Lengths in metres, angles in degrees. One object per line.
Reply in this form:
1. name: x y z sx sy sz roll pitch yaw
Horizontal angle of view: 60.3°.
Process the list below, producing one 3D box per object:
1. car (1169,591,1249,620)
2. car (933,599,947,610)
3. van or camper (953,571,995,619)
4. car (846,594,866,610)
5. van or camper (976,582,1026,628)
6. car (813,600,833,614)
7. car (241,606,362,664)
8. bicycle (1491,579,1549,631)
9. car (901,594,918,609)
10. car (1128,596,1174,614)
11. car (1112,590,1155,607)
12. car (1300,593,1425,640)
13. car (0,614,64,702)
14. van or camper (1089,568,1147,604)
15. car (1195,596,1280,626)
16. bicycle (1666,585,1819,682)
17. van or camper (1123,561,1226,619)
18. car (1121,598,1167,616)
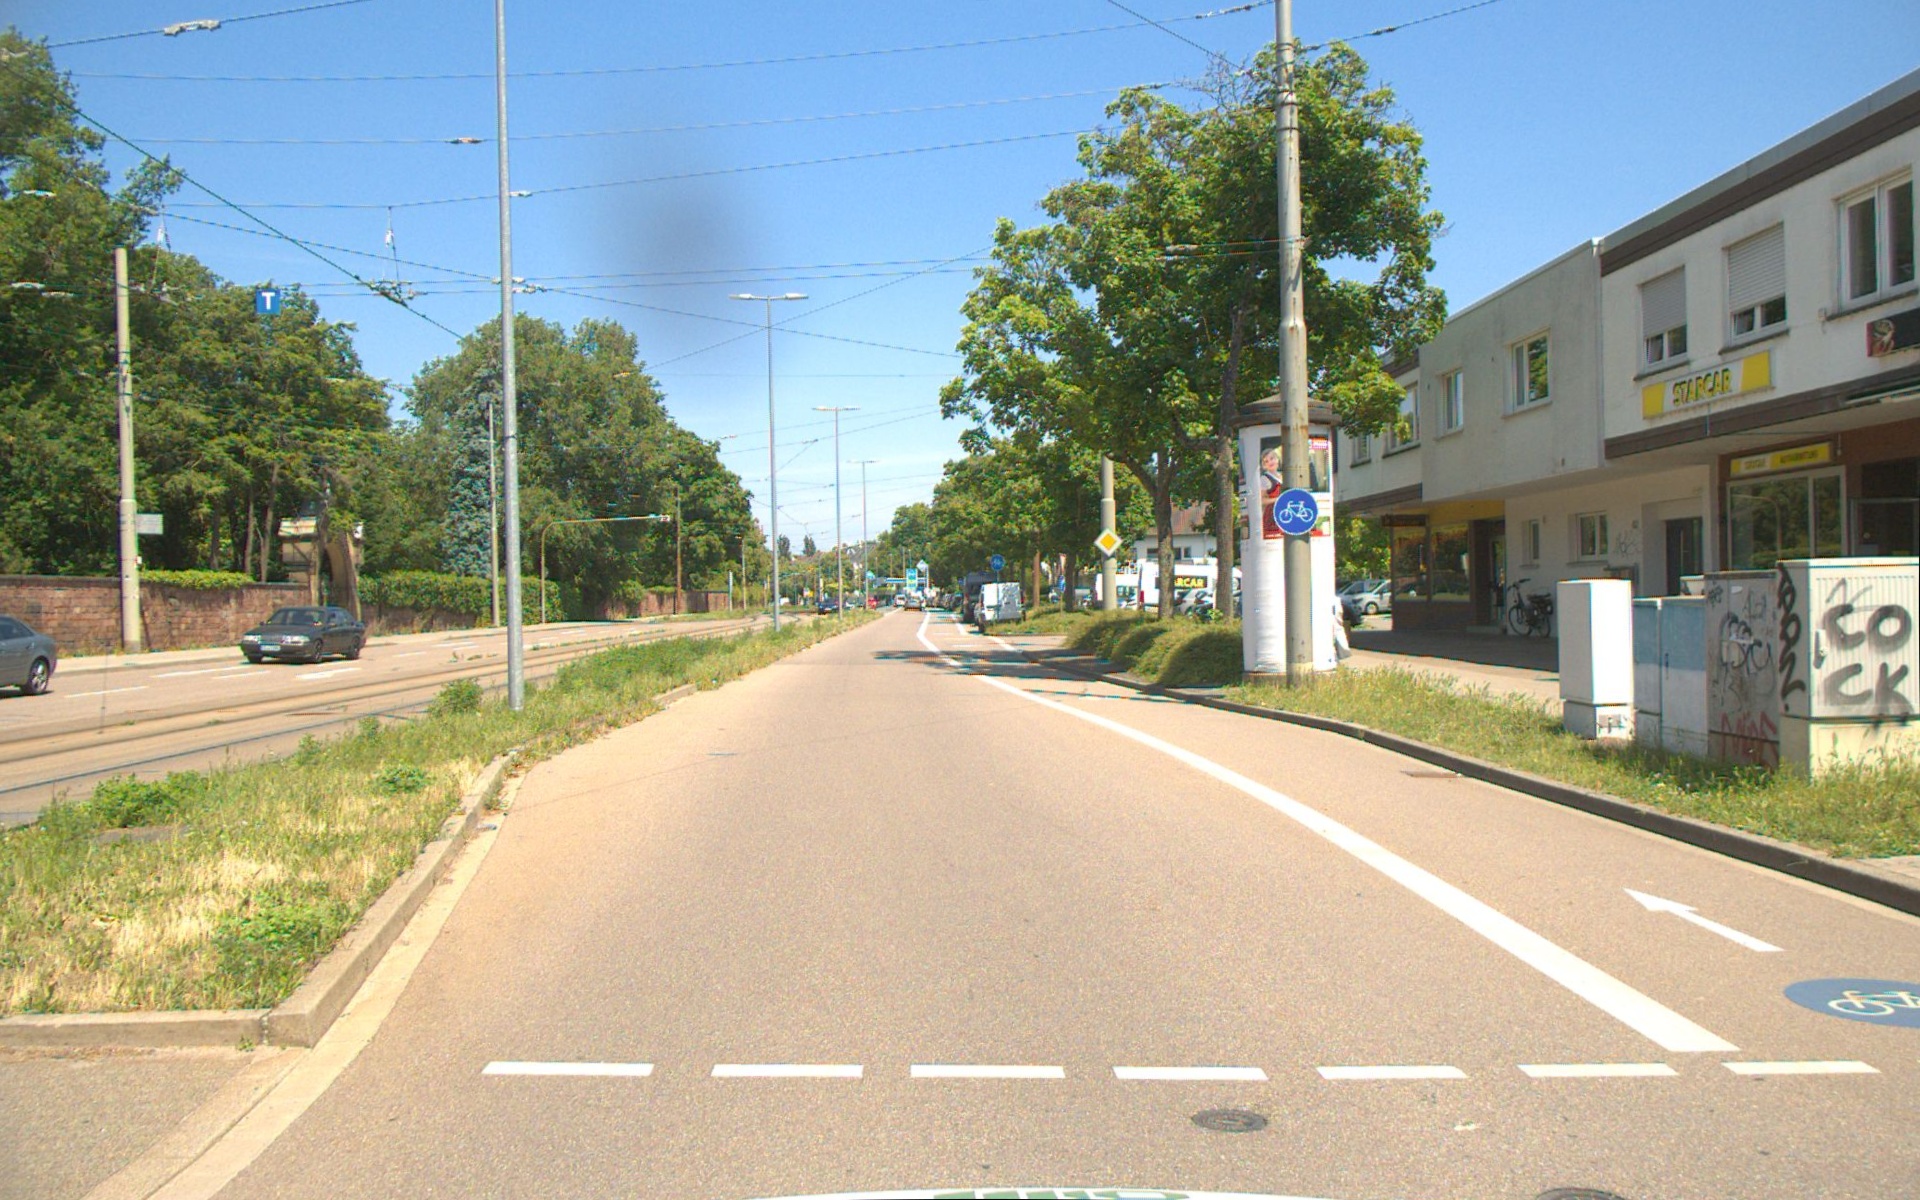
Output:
1. car: 11.244 0.251 74.919 3.468 1.243 1.477 -1 -1 4
2. car: -2.456 0.564 202.720 1.493 1.319 3.490 -1 0 -4
3. van or camper: 0.725 -0.282 90.141 1.954 2.507 3.997 -1 0 -4
4. car: -7.263 0.164 115.147 1.267 1.073 2.597 -1 0 -7
5. van or camper: 1.637 0.181 67.707 1.883 1.803 4.000 -1 0 -1
6. car: -11.211 0.544 135.659 1.462 1.064 3.579 -1 0 -2
7. car: -17.091 0.870 43.137 1.608 1.424 4.114 1 0 -2
8. bicycle: 12.115 0.125 35.803 0.497 1.084 1.862 1 -1 -4
9. car: -5.027 0.155 164.413 1.604 1.375 3.839 -1 0 -4
10. car: 10.849 0.265 93.905 2.533 0.979 1.149 -1 0 4
11. car: 10.665 -0.080 101.917 2.535 0.979 1.149 -1 0 0
12. car: 12.694 0.507 52.251 3.539 1.374 1.488 -1 0 -8
13. car: -16.943 0.982 27.615 1.607 1.446 4.168 1 0 1
14. van or camper: 10.032 -0.890 105.291 3.486 2.183 1.602 -1 0 -3
15. car: 11.993 0.480 71.534 3.468 1.243 1.477 -1 0 4
16. bicycle: 10.175 0.410 21.631 0.968 1.184 2.639 -1 0 6
17. van or camper: 10.481 -0.507 80.933 4.661 2.717 2.135 -1 0 -3
18. car: 10.768 0.395 96.676 2.535 0.979 1.149 -1 0 0
